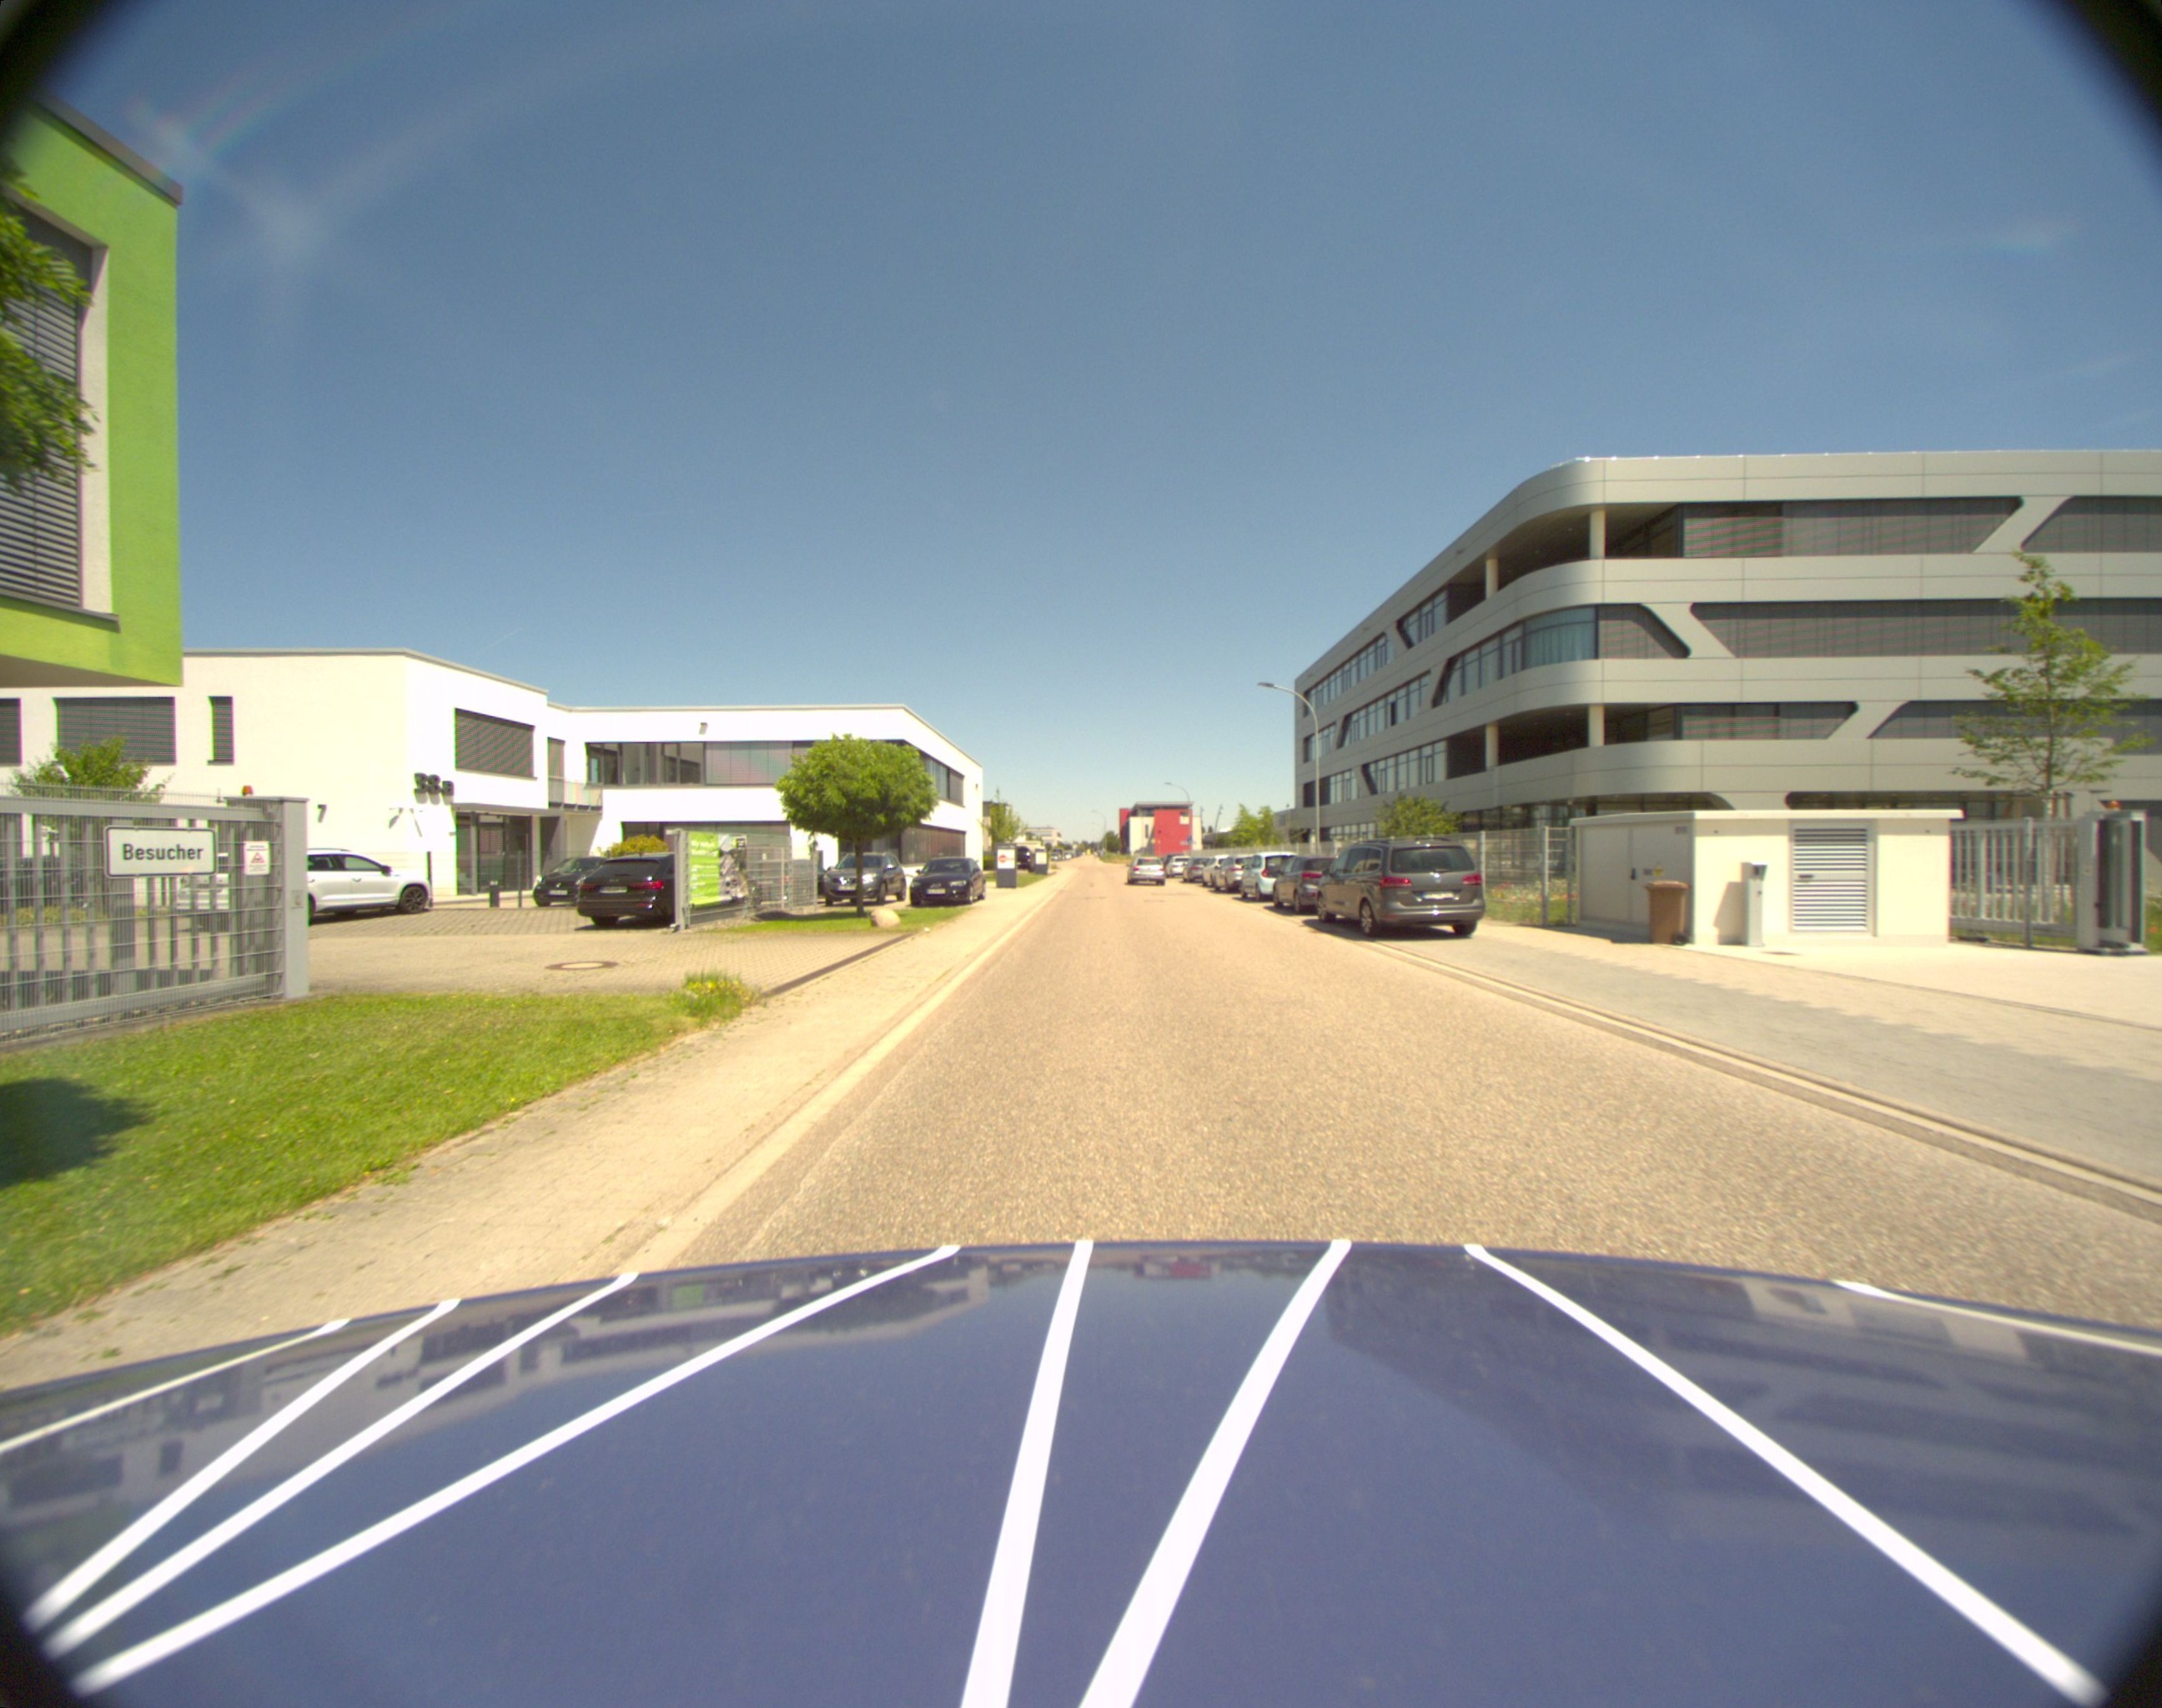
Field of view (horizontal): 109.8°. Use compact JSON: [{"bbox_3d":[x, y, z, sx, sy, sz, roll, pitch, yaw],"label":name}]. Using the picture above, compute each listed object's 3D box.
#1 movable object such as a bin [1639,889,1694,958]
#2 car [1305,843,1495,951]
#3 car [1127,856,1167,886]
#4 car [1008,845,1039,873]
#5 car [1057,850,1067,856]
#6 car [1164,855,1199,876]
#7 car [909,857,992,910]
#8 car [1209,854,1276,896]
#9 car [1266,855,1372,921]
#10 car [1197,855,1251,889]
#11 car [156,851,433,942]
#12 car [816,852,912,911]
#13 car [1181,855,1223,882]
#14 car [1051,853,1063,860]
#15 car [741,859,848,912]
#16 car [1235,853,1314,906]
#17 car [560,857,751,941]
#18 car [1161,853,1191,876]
[{"bbox_3d":[8.607,1.008,11.169,0.602,0.940,0.517,-1,1,41],"label":"movable object such as a bin"},{"bbox_3d":[5.892,0.697,14.722,1.807,1.709,4.622,-2,0,1],"label":"car"},{"bbox_3d":[3.364,0.816,39.615,1.708,1.403,4.784,2,0,1],"label":"car"},{"bbox_3d":[-4.464,0.443,59.285,1.999,2.001,5.801,0,-2,0],"label":"car"},{"bbox_3d":[-3.890,-0.192,156.809,1.828,1.269,3.886,0,0,2],"label":"car"},{"bbox_3d":[6.635,0.756,50.643,1.703,1.378,3.937,-1,0,-1],"label":"car"},{"bbox_3d":[-3.905,0.834,23.431,1.696,1.419,4.246,-1,0,1],"label":"car"},{"bbox_3d":[6.397,0.780,30.570,1.707,1.527,4.572,-2,0,0],"label":"car"},{"bbox_3d":[6.100,0.803,19.914,1.638,1.491,3.972,-2,0,2],"label":"car"},{"bbox_3d":[6.724,0.803,36.129,1.707,1.435,4.439,-2,0,0],"label":"car"},{"bbox_3d":[-16.826,0.805,16.616,1.742,1.628,4.053,0,2,1],"label":"car"},{"bbox_3d":[-6.613,0.775,23.643,1.727,1.623,4.022,-1,0,1],"label":"car"},{"bbox_3d":[6.636,0.791,41.985,1.688,1.378,4.640,-1,0,2],"label":"car"},{"bbox_3d":[-4.411,0.419,140.462,1.828,1.269,3.886,0,0,2],"label":"car"},{"bbox_3d":[-8.861,0.931,23.877,1.727,1.441,4.022,-1,0,1],"label":"car"},{"bbox_3d":[6.254,0.773,24.874,1.638,1.527,3.657,-2,0,0],"label":"car"},{"bbox_3d":[-8.849,0.854,16.265,1.742,1.390,4.053,0,2,1],"label":"car"},{"bbox_3d":[6.958,0.753,56.014,1.774,1.641,4.852,-1,0,3],"label":"car"}]
